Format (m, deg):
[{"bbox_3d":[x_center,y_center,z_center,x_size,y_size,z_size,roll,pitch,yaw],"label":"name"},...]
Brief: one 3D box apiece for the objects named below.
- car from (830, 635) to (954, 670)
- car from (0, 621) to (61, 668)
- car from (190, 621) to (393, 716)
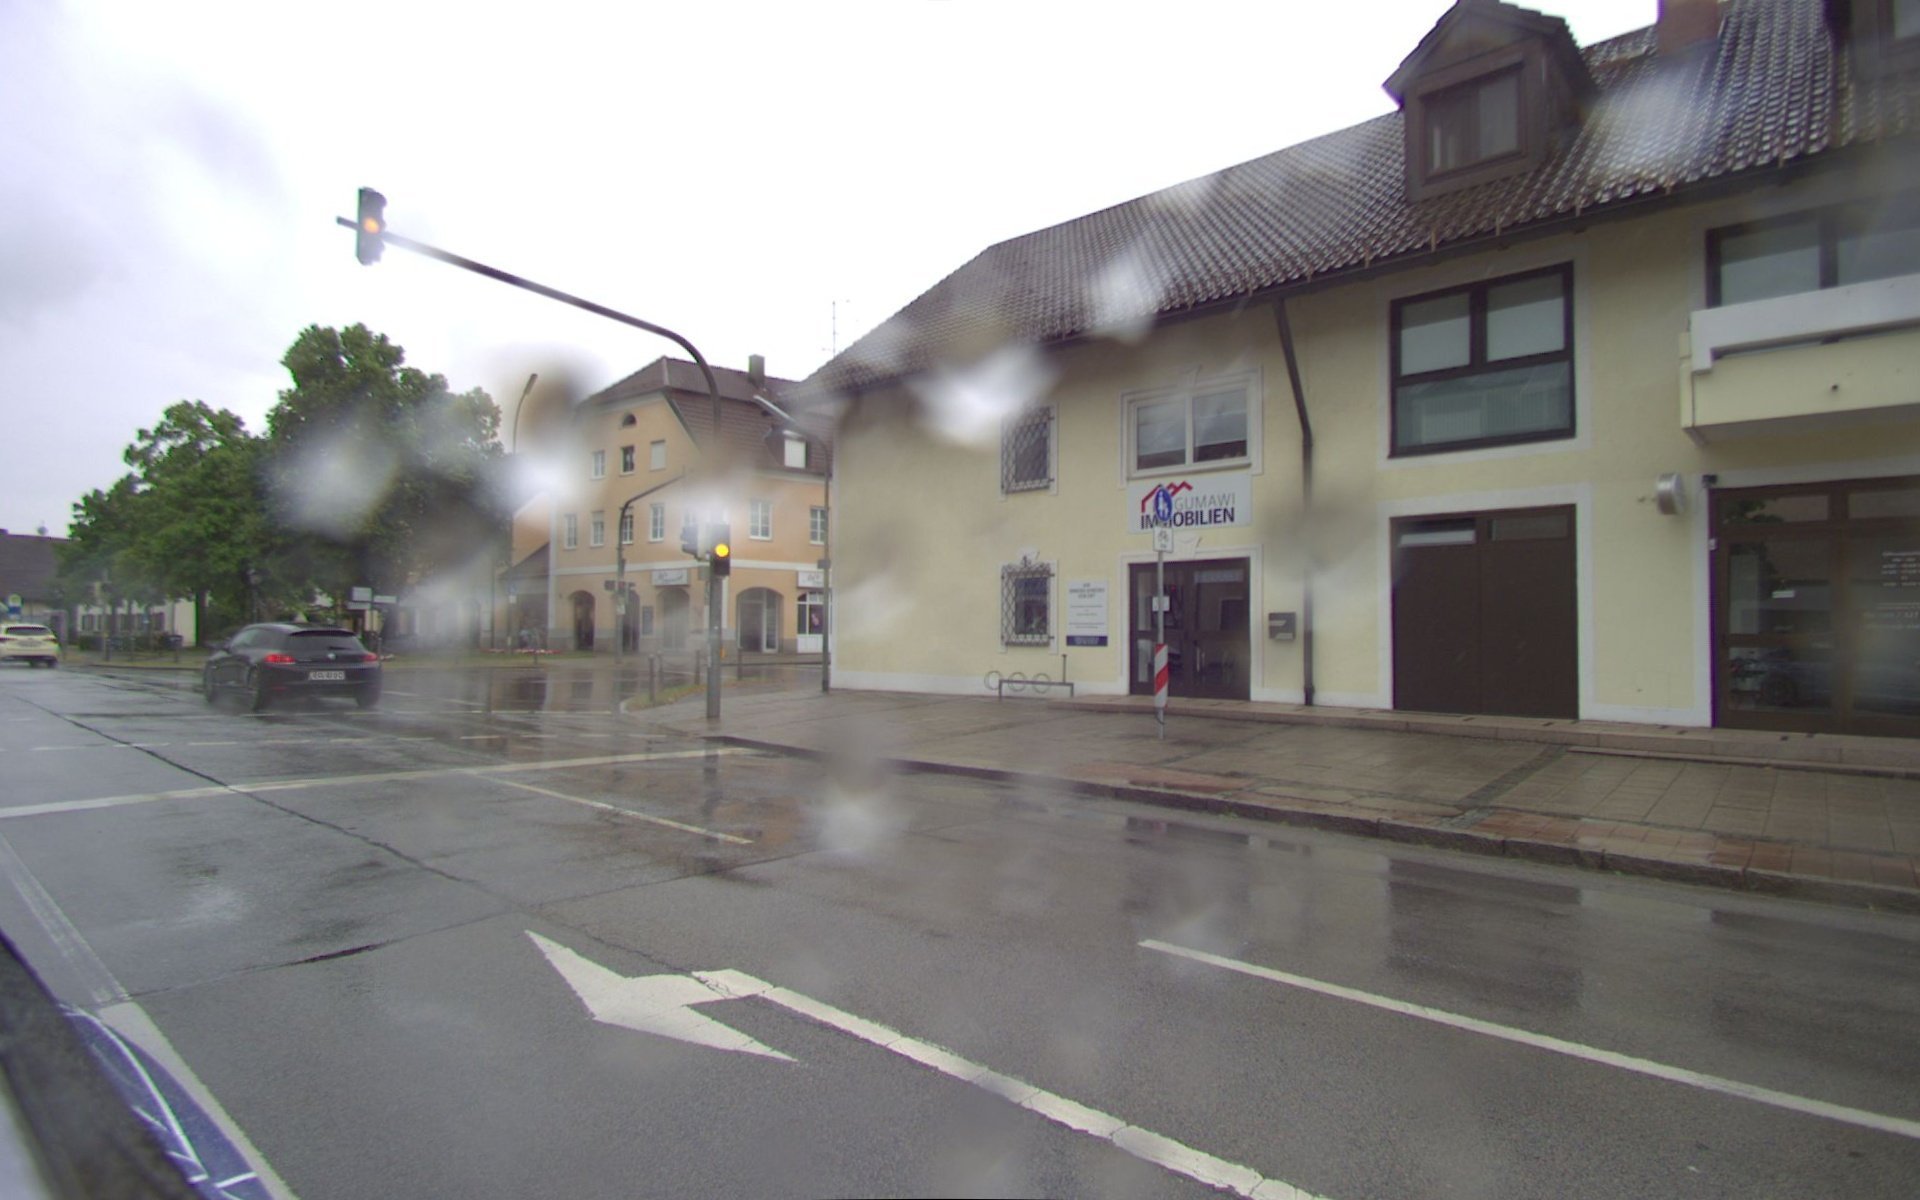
[{"bbox_3d":[-2.456,1.889,37.018,4.287,1.194,1.694,2,-2,-35],"label":"car"},{"bbox_3d":[-32.286,1.497,34.489,4.226,1.523,1.735,-1,-3,39],"label":"car"},{"bbox_3d":[-11.448,1.101,17.253,3.883,1.418,1.975,-1,-3,43],"label":"car"}]
